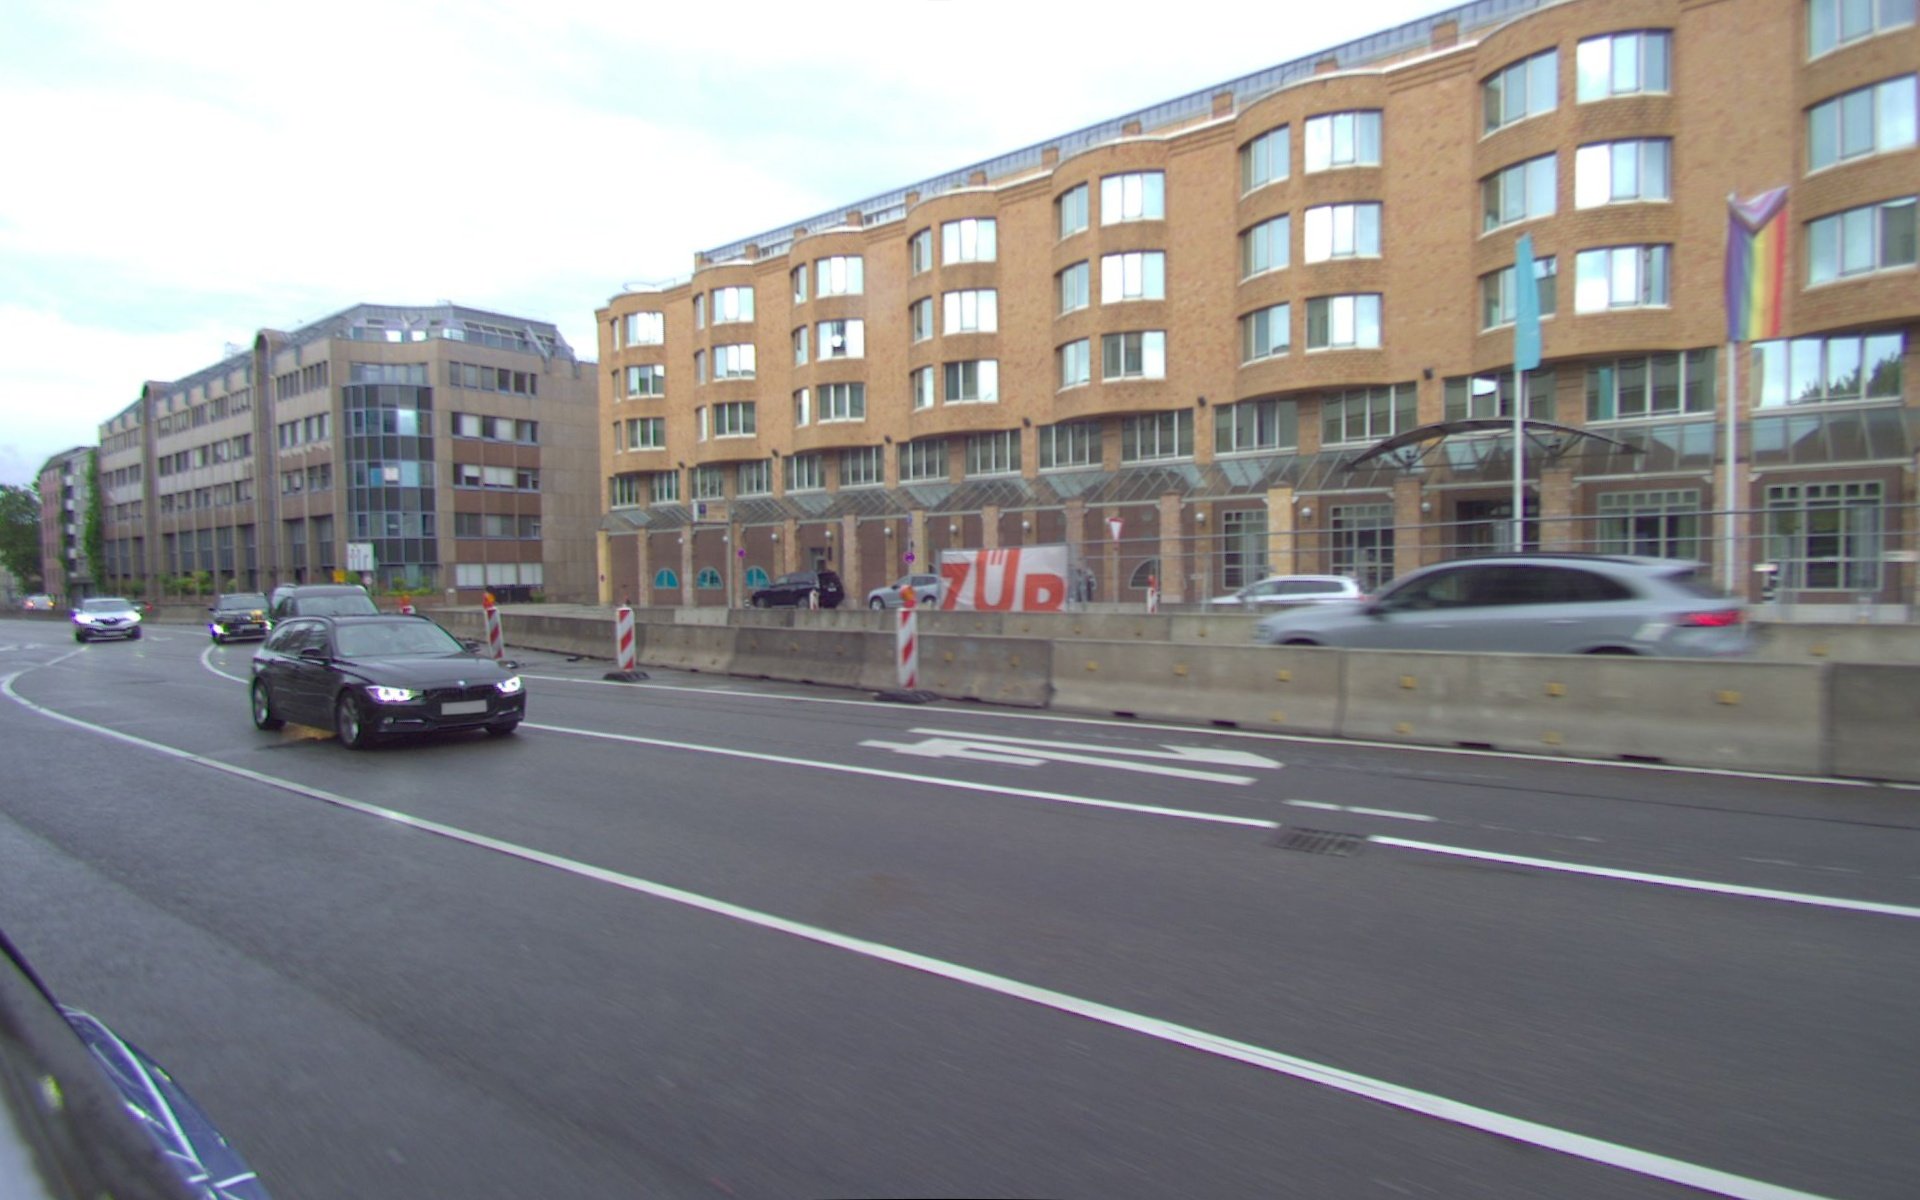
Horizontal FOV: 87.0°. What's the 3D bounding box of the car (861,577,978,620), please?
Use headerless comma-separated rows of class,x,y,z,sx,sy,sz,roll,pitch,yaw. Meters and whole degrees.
car,-1.706,-0.063,41.480,4.532,1.606,1.976,-2,1,37

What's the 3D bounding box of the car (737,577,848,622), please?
car,-7.628,-0.012,45.863,5.004,1.900,1.976,-2,1,37

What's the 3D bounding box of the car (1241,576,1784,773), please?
car,5.637,0.666,10.745,4.701,1.635,1.972,-2,0,43

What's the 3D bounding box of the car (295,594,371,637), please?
car,-29.568,0.720,47.647,1.971,1.899,4.873,-3,1,-45

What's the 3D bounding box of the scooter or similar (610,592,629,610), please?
scooter or similar,-20.507,0.062,60.988,1.039,1.071,0.446,-2,0,26

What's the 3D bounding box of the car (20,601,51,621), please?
car,-88.880,1.030,97.283,4.878,1.796,1.865,-1,1,44

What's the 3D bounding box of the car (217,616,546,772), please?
car,-7.006,0.978,12.053,4.649,1.454,1.751,-1,1,38

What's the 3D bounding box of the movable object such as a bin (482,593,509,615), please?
movable object such as a bin,-32.311,0.302,70.385,1.229,1.491,1.351,-2,1,-45

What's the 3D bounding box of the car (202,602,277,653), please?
car,-24.347,0.886,34.138,1.745,1.545,4.364,-2,1,-39

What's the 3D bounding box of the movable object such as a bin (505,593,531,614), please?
movable object such as a bin,-31.193,0.249,71.399,1.229,1.491,1.351,-2,1,-45

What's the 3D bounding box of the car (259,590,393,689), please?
car,-13.486,0.764,21.411,1.772,1.814,4.258,-3,1,-40

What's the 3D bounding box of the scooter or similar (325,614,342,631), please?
scooter or similar,-40.711,1.442,65.716,1.040,1.071,0.446,-2,0,27

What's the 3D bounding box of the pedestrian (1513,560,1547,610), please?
pedestrian,16.994,-0.445,30.180,0.736,1.463,0.610,-2,-1,41

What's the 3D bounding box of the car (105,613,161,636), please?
car,-56.045,1.668,68.542,4.221,1.470,1.975,-1,1,37

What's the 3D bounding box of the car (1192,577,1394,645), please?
car,8.062,0.285,24.719,4.358,1.538,1.743,-1,-1,38

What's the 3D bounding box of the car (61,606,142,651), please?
car,-32.804,1.076,38.608,4.655,1.545,1.749,-1,1,42
